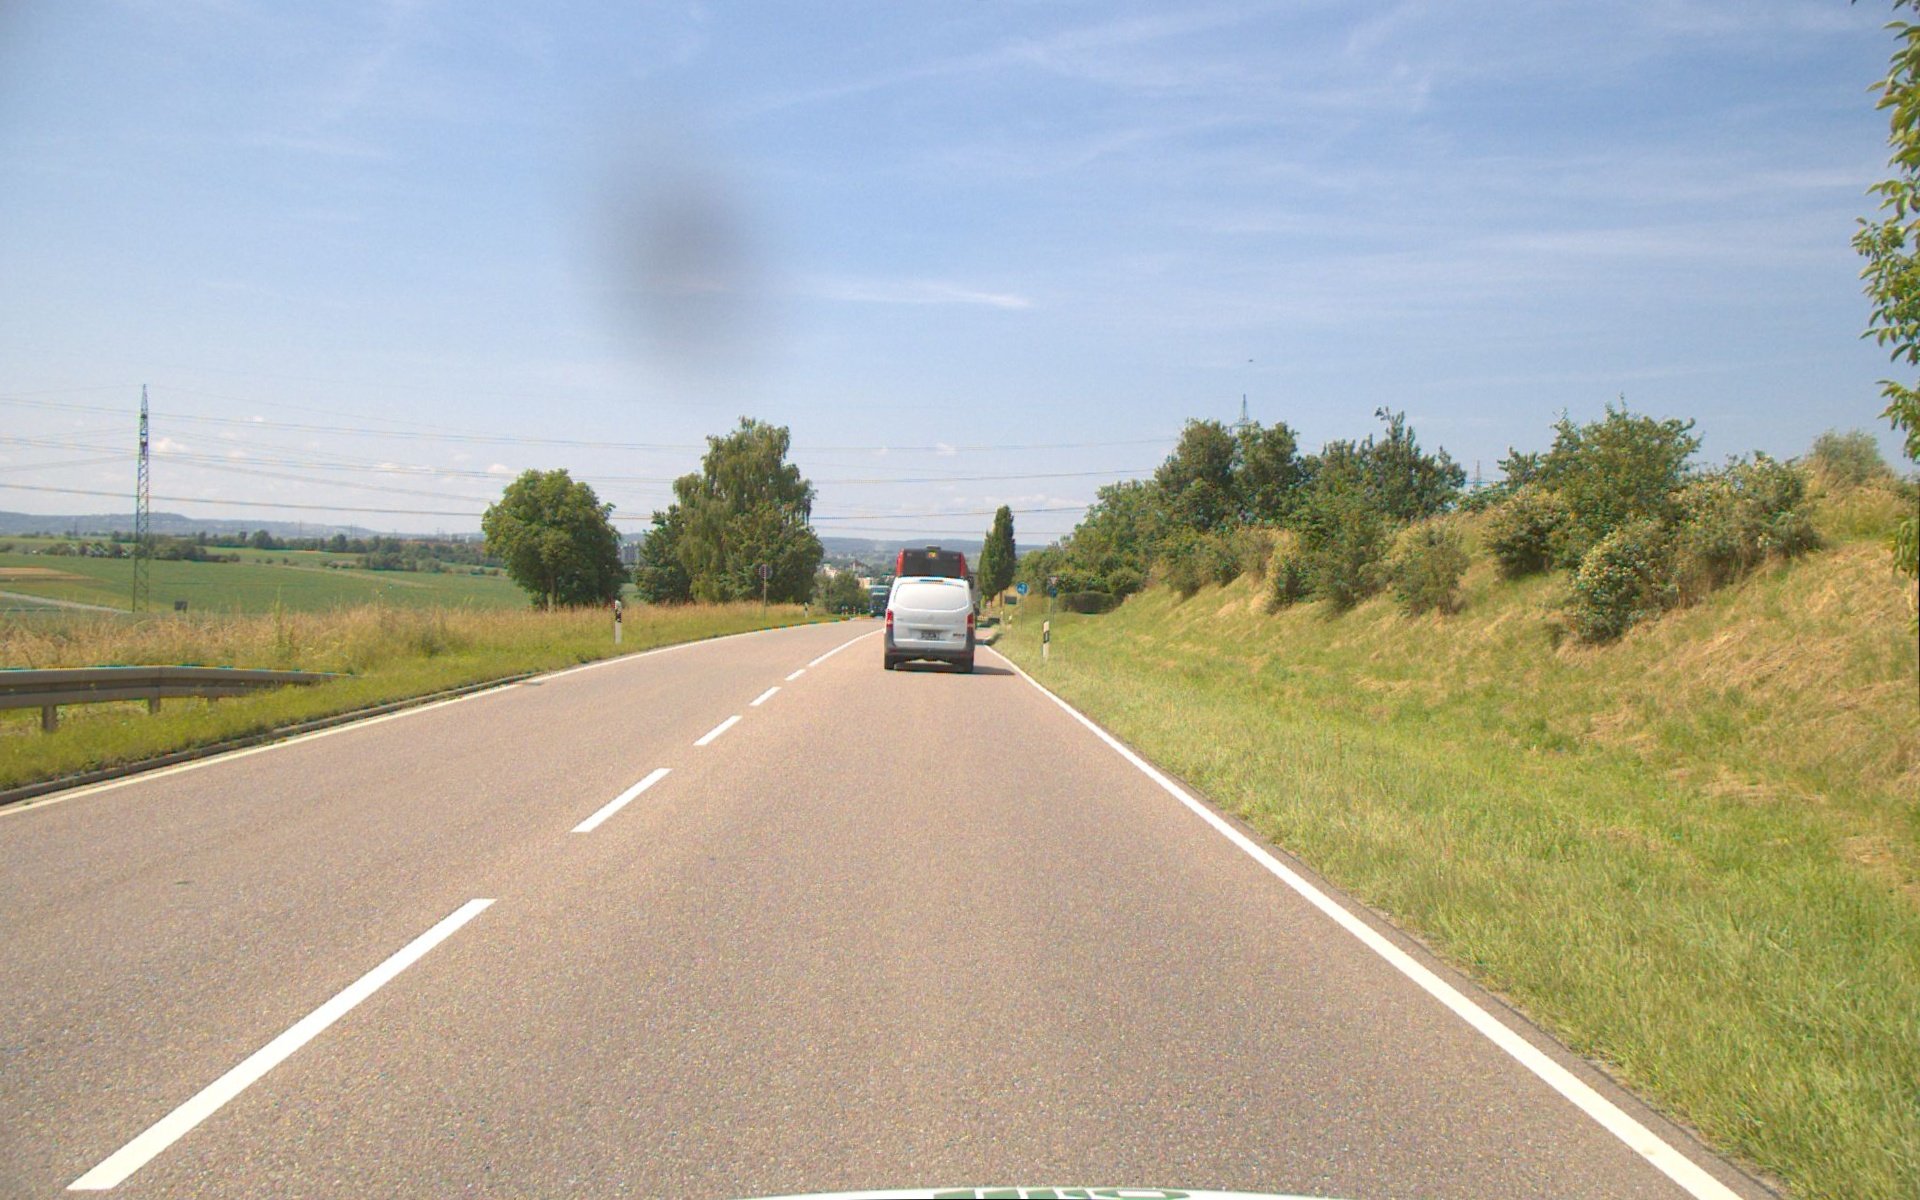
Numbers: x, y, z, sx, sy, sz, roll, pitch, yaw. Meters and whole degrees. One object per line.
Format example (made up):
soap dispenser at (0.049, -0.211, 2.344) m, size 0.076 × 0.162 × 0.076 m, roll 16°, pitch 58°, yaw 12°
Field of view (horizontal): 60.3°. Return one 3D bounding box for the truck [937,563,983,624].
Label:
truck at (-0.113, -0.455, 131.140) m, size 3.417 × 4.501 × 14.899 m, roll 1°, pitch 0°, yaw -1°

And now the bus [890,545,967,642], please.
bus at (-1.176, -0.389, 64.684) m, size 2.691 × 3.411 × 13.221 m, roll 0°, pitch 1°, yaw -1°

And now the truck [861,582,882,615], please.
truck at (-11.812, -0.189, 220.182) m, size 2.534 × 4.176 × 5.437 m, roll 2°, pitch 0°, yaw -4°

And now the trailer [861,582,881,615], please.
trailer at (-12.228, -0.151, 227.107) m, size 2.541 × 4.215 × 13.731 m, roll 2°, pitch 0°, yaw -3°

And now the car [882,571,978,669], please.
car at (-0.620, 0.400, 34.805) m, size 1.884 × 1.922 × 3.999 m, roll 1°, pitch 0°, yaw -1°
